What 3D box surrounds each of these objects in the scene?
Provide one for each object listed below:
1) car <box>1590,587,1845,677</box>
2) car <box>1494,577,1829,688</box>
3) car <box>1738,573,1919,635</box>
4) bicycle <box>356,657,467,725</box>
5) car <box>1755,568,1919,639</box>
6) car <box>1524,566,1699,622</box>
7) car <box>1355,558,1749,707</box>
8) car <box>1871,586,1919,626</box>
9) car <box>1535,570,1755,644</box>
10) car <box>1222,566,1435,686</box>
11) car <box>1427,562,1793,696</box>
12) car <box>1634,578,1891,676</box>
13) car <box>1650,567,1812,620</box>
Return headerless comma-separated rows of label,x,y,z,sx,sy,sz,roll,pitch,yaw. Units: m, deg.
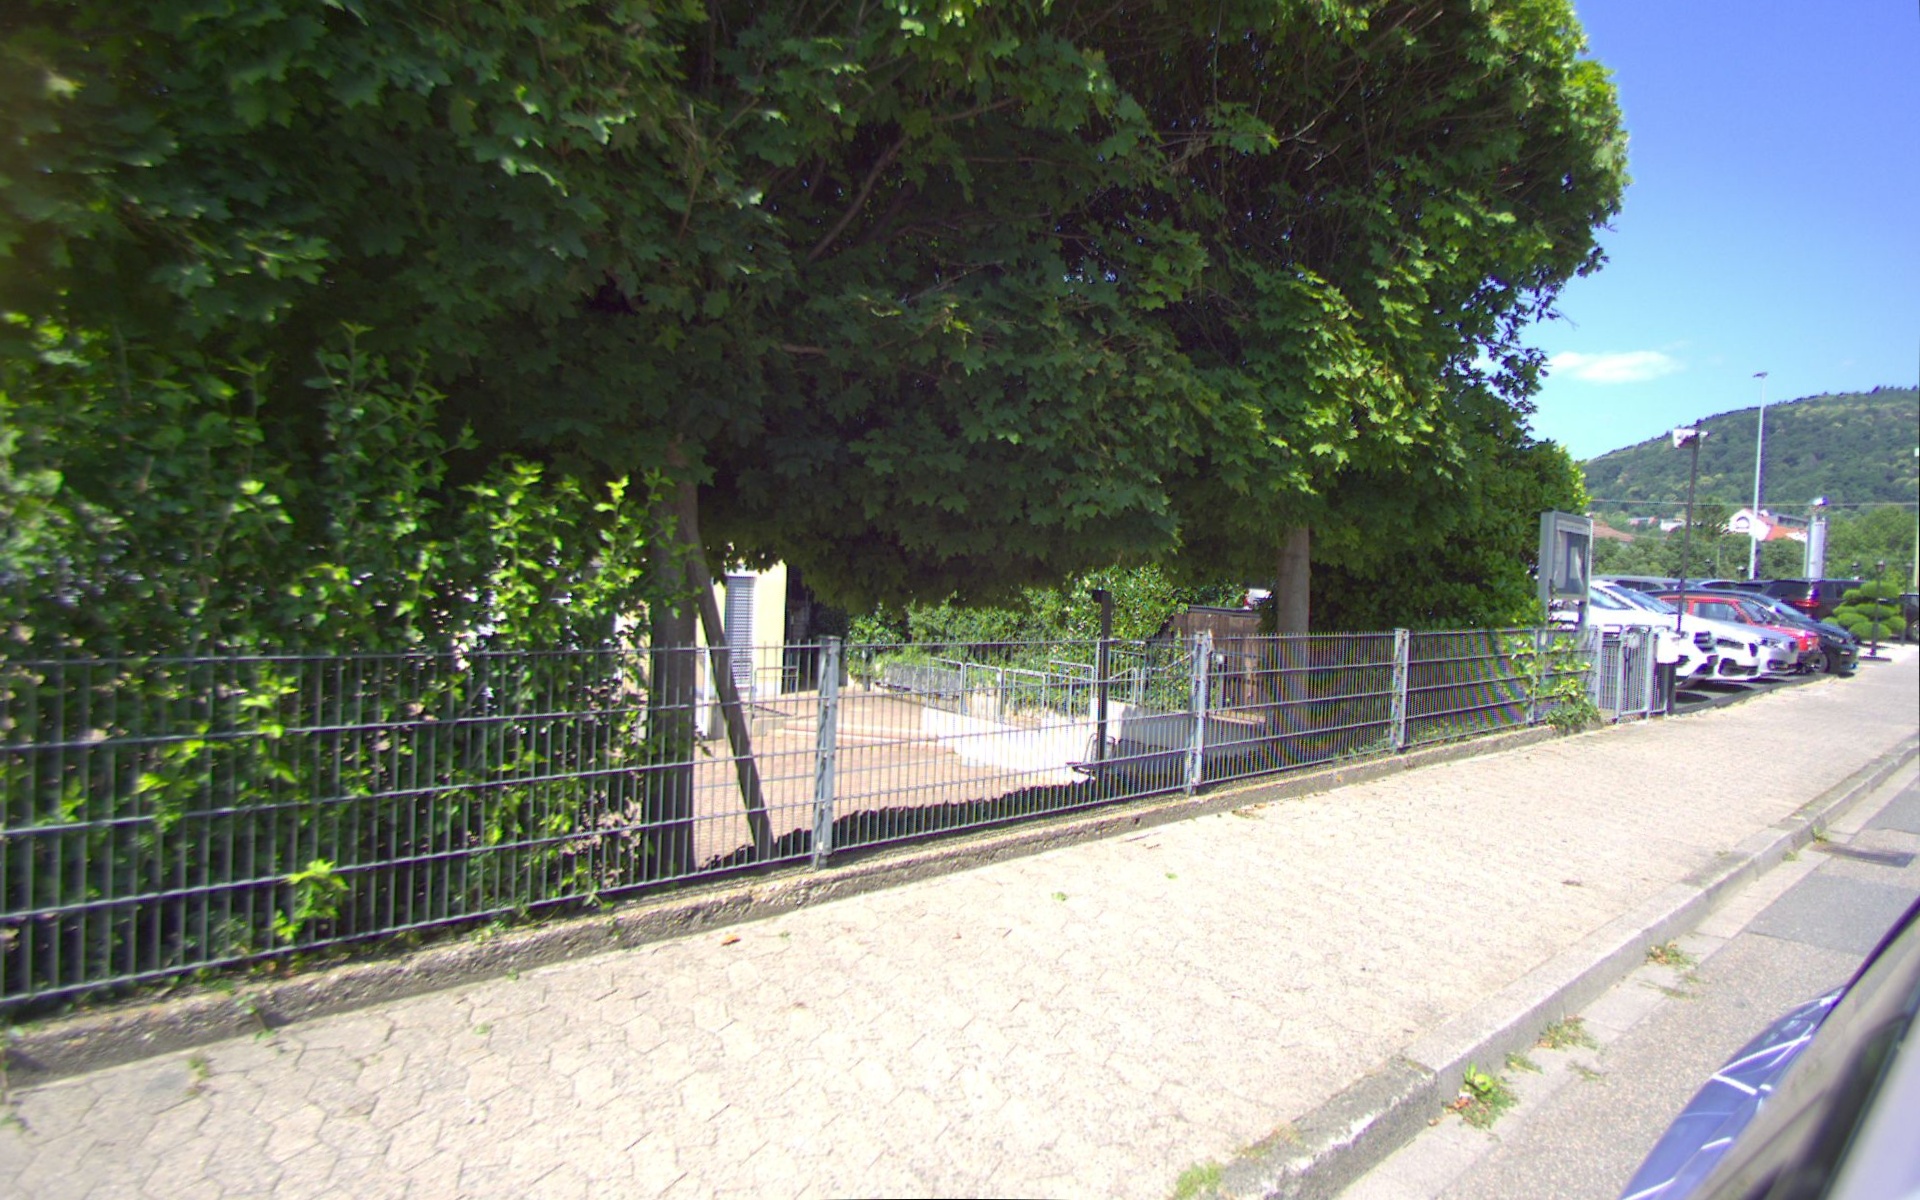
car,14.078,0.532,18.944,1.532,1.351,3.556,0,3,-42
car,11.940,0.453,17.484,1.864,1.515,4.412,1,3,-41
car,28.374,0.100,32.884,4.721,1.801,2.020,2,2,-6
bicycle,-9.842,1.607,18.238,0.610,1.005,1.803,4,1,19
car,25.236,0.096,28.525,4.205,1.804,1.856,2,2,-5
car,20.495,-0.216,32.015,4.138,1.553,1.921,2,2,9
car,8.121,0.324,14.226,1.812,1.674,4.410,1,3,-42
car,38.647,0.355,39.466,1.859,1.437,4.179,1,4,-29
car,19.049,0.121,28.486,1.884,1.784,5.010,2,2,-17
car,6.555,0.368,17.864,3.723,1.883,1.997,0,2,-41
car,9.969,0.326,15.815,1.865,1.546,4.411,0,5,-42
car,16.222,0.463,20.587,1.729,1.644,3.810,0,3,-42
car,27.557,-0.239,36.202,4.716,1.713,2.022,1,2,-14
